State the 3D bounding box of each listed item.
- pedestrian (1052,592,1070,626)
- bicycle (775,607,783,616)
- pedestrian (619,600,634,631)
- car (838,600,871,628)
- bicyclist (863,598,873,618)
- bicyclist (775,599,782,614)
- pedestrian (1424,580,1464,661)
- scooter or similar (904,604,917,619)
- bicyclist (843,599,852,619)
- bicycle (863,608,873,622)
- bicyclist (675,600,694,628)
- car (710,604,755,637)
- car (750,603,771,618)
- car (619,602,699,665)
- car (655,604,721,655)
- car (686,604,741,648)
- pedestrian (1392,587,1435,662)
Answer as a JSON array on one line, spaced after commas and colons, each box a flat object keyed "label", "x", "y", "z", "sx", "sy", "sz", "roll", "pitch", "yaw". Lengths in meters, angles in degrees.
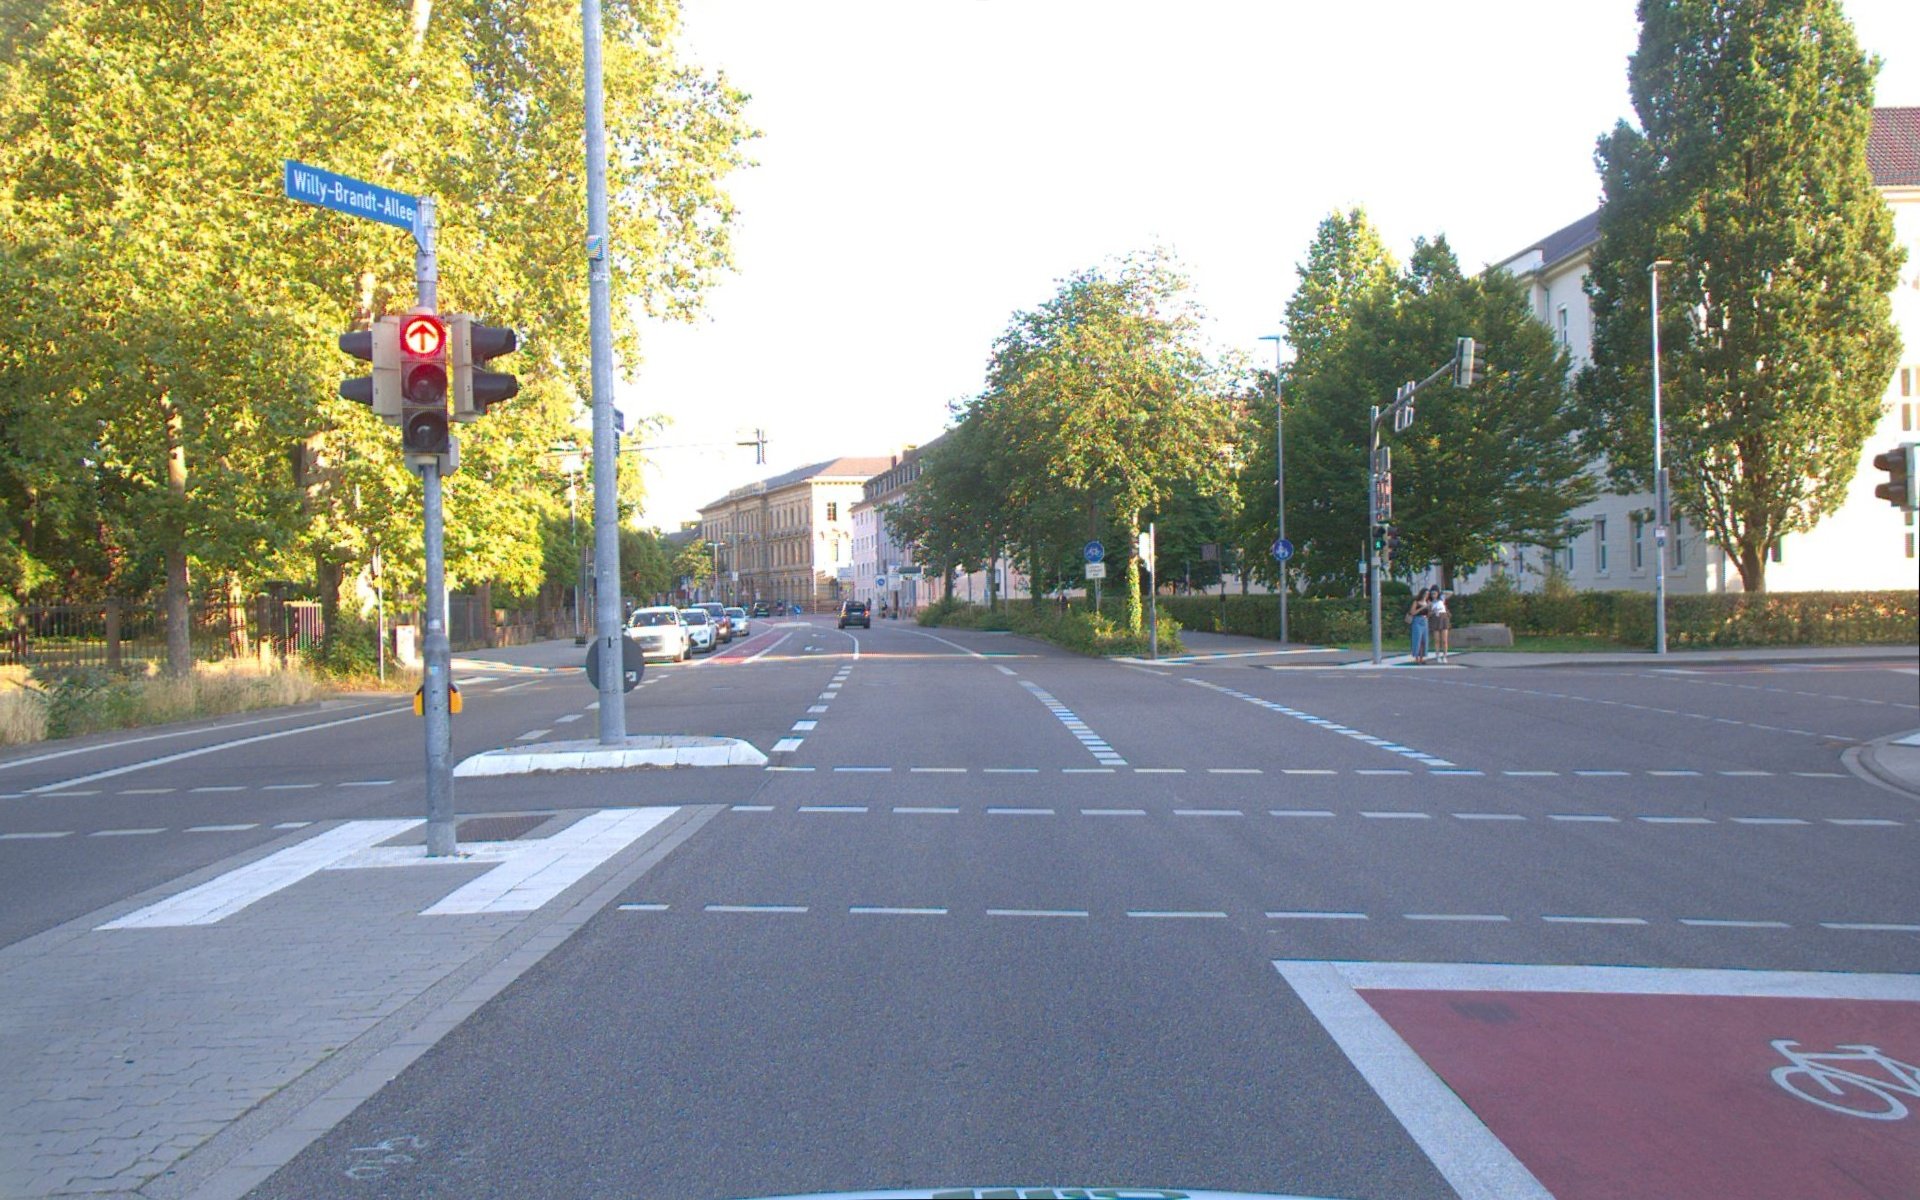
[{"label": "pedestrian", "x": 5.254, "y": 0.468, "z": 86.026, "sx": 0.756, "sy": 1.769, "sz": 0.805, "roll": -1, "pitch": 0, "yaw": -10}, {"label": "bicycle", "x": -20.363, "y": 1.267, "z": 186.046, "sx": 0.641, "sy": 1.033, "sz": 2.190, "roll": 1, "pitch": 0, "yaw": -13}, {"label": "pedestrian", "x": -18.343, "y": 0.839, "z": 90.892, "sx": 0.667, "sy": 1.650, "sz": 0.688, "roll": -1, "pitch": 0, "yaw": -1}, {"label": "car", "x": -5.976, "y": 0.816, "z": 94.091, "sx": 1.830, "sy": 1.536, "sz": 3.998, "roll": -1, "pitch": 0, "yaw": -3}, {"label": "bicyclist", "x": -7.009, "y": 0.613, "z": 125.988, "sx": 0.639, "sy": 1.501, "sz": 0.939, "roll": 1, "pitch": 0, "yaw": -7}, {"label": "bicyclist", "x": -20.399, "y": 0.738, "z": 186.243, "sx": 0.641, "sy": 1.727, "sz": 0.954, "roll": 1, "pitch": -1, "yaw": -14}, {"label": "pedestrian", "x": 10.838, "y": 0.445, "z": 37.041, "sx": 0.667, "sy": 1.784, "sz": 0.688, "roll": -1, "pitch": 0, "yaw": -1}, {"label": "scooter or similar", "x": -4.376, "y": 1.010, "z": 145.270, "sx": 0.619, "sy": 1.360, "sz": 2.391, "roll": -1, "pitch": 0, "yaw": -14}, {"label": "bicyclist", "x": -8.554, "y": 0.667, "z": 125.816, "sx": 0.639, "sy": 1.471, "sz": 0.878, "roll": 1, "pitch": 0, "yaw": -4}, {"label": "bicycle", "x": -7.015, "y": 1.114, "z": 125.984, "sx": 0.639, "sy": 1.033, "sz": 2.194, "roll": 1, "pitch": 0, "yaw": -7}, {"label": "bicyclist", "x": -15.002, "y": 0.762, "z": 90.086, "sx": 0.838, "sy": 1.456, "sz": 0.943, "roll": -1, "pitch": 0, "yaw": -1}, {"label": "car", "x": -11.304, "y": 0.991, "z": 82.302, "sx": 1.879, "sy": 1.442, "sz": 4.765, "roll": -3, "pitch": 0, "yaw": -5}, {"label": "car", "x": -21.684, "y": 1.113, "z": 179.488, "sx": 1.882, "sy": 1.442, "sz": 4.758, "roll": -3, "pitch": 0, "yaw": -11}, {"label": "car", "x": -9.076, "y": 0.973, "z": 50.161, "sx": 1.879, "sy": 1.725, "sz": 4.422, "roll": -3, "pitch": 0, "yaw": -5}, {"label": "car", "x": -9.567, "y": 1.004, "z": 58.488, "sx": 1.879, "sy": 1.611, "sz": 4.669, "roll": -3, "pitch": 0, "yaw": -5}, {"label": "car", "x": -10.315, "y": 1.047, "z": 69.480, "sx": 1.879, "sy": 1.653, "sz": 4.634, "roll": -3, "pitch": 0, "yaw": -5}, {"label": "pedestrian", "x": 10.145, "y": 0.540, "z": 37.019, "sx": 0.667, "sy": 1.650, "sz": 0.845, "roll": -1, "pitch": 0, "yaw": -1}]
